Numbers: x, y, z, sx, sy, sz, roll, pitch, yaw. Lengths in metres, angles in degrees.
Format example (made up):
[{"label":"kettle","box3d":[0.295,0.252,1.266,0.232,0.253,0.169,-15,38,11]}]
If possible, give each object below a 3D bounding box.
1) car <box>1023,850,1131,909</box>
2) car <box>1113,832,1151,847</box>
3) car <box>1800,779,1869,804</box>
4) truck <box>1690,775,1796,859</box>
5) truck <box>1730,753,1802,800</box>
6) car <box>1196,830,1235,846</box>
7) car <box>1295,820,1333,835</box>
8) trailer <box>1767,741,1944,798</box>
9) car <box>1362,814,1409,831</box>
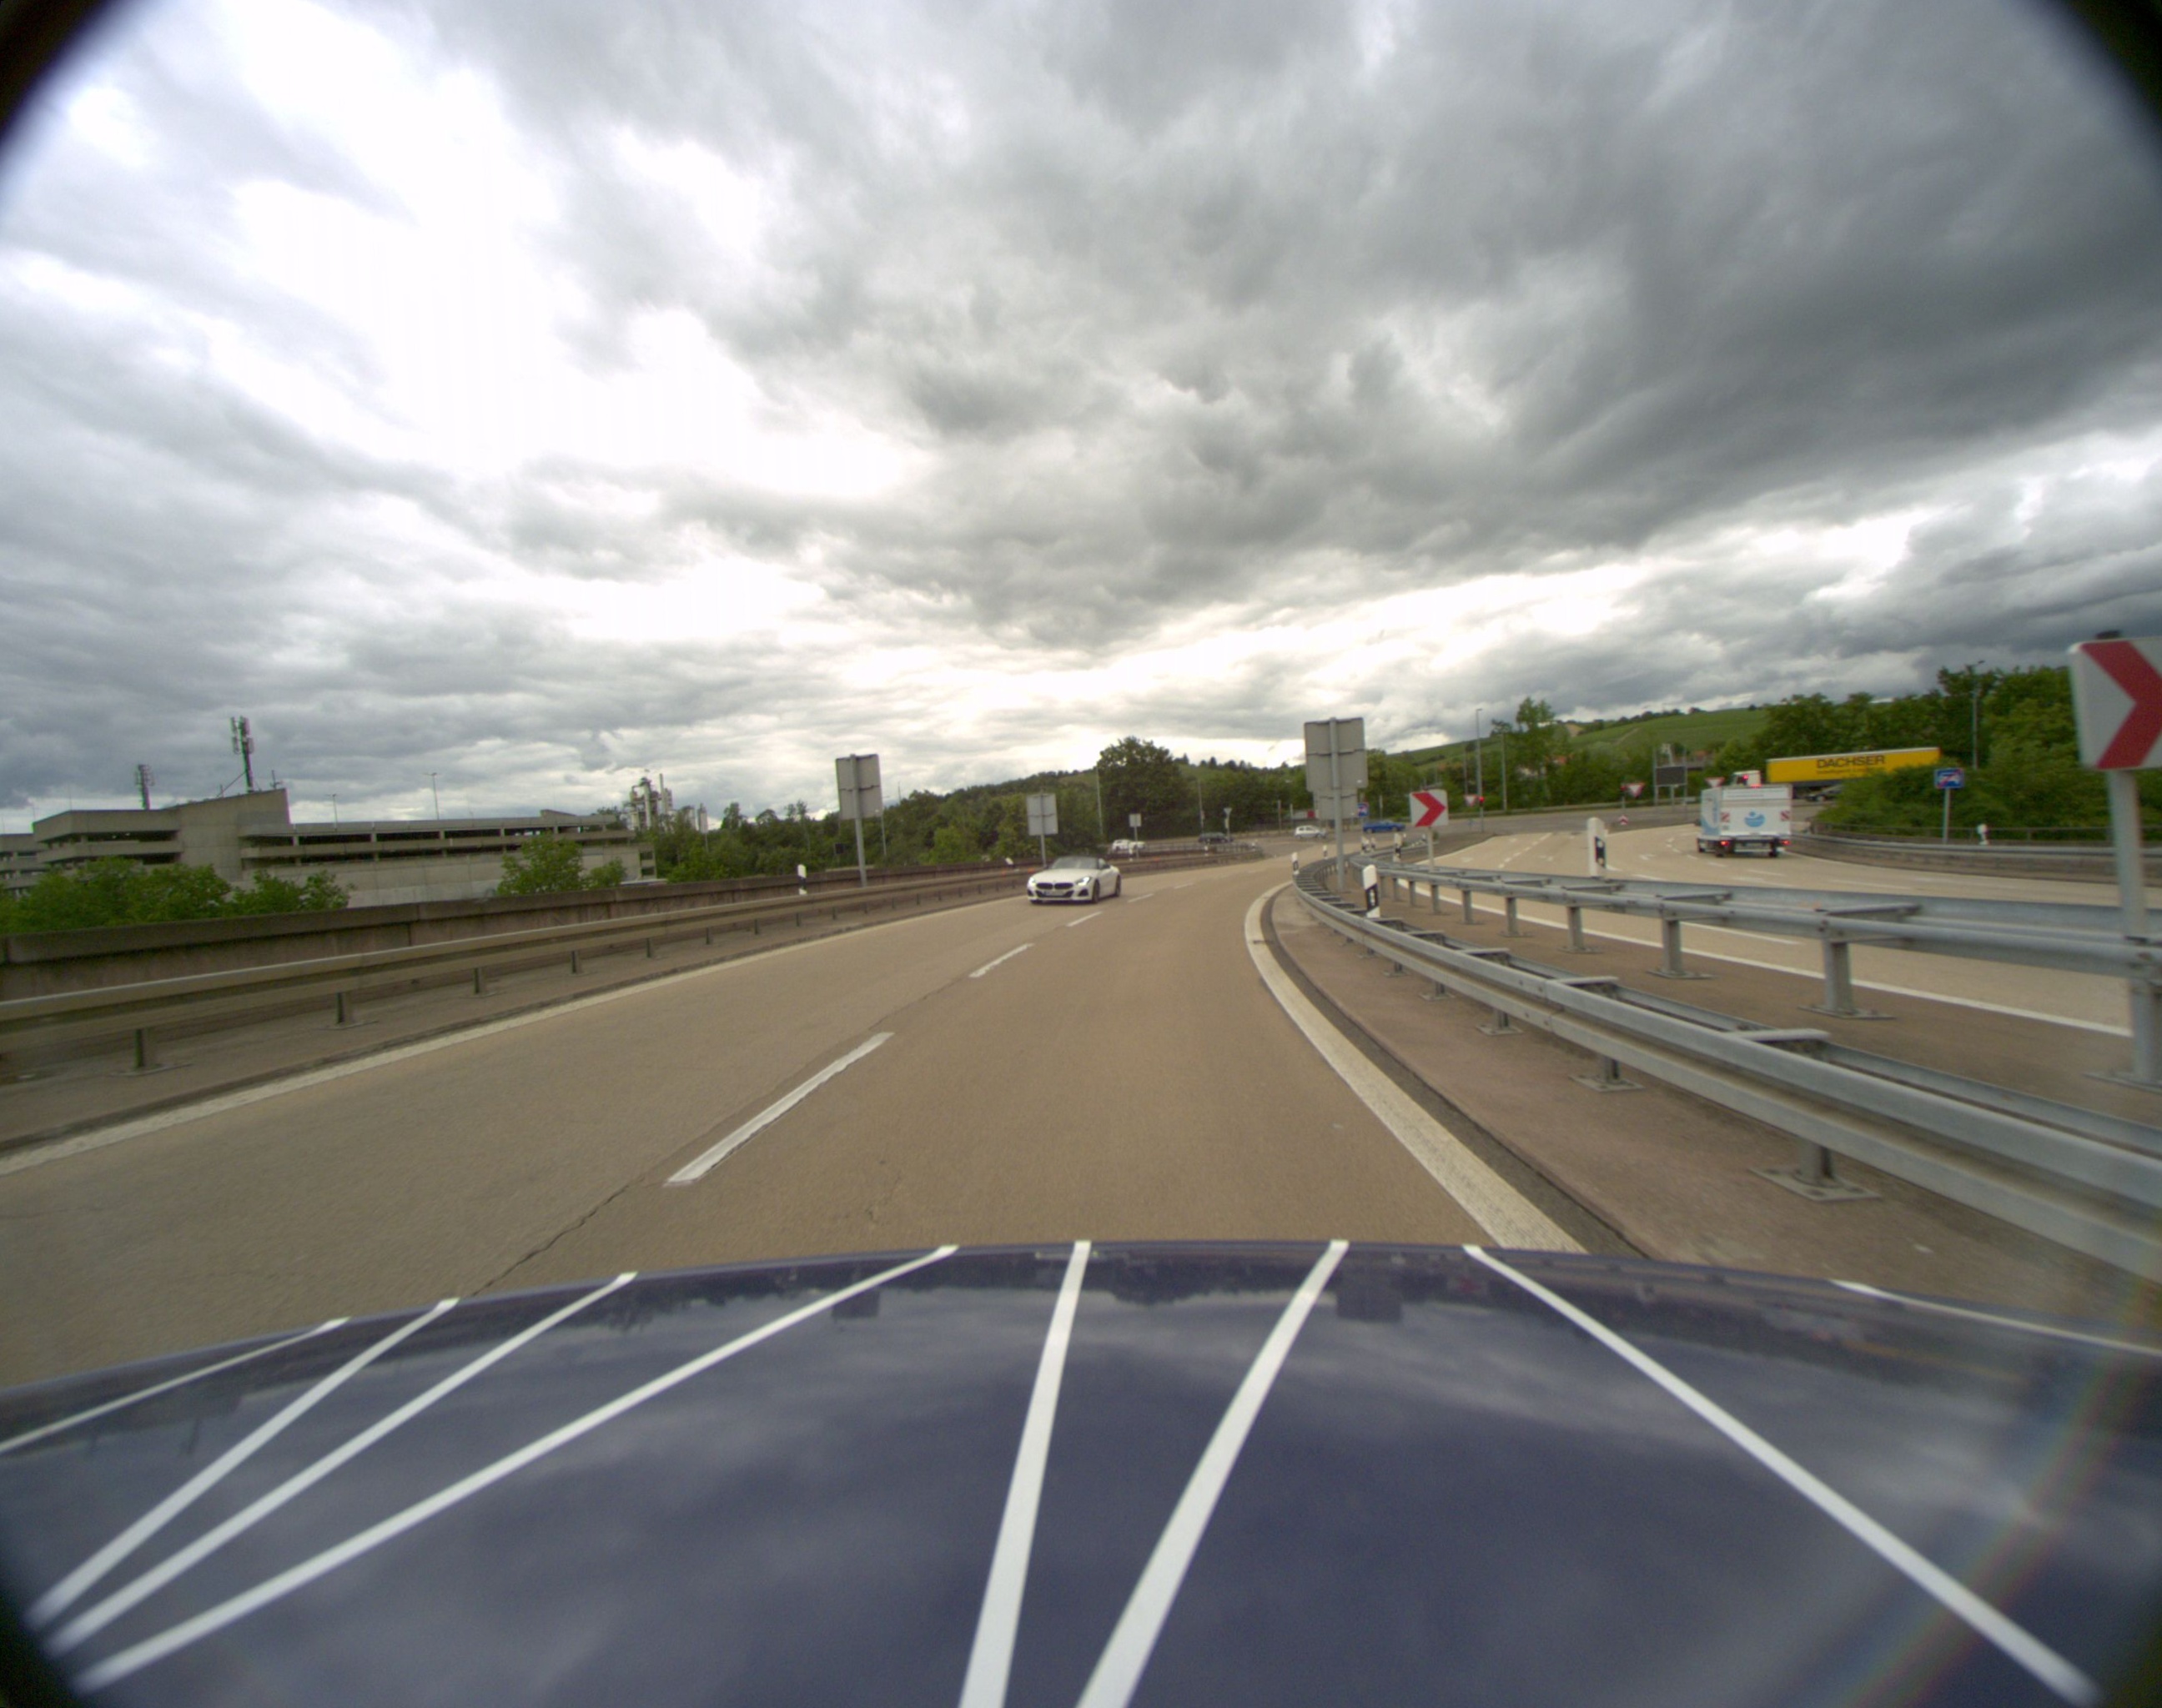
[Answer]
[{"label":"car","box3d":[0.029,0.664,22.153,1.860,1.337,4.829,-2,2,16]},{"label":"car","box3d":[6.829,-1.922,102.032,4.703,1.552,1.880,-4,4,37]},{"label":"car","box3d":[68.434,-5.655,69.109,4.115,1.652,1.630,-6,4,35]},{"label":"truck","box3d":[29.010,-1.679,33.585,2.346,3.245,7.005,-2,3,32]},{"label":"truck","box3d":[69.292,-7.801,76.962,5.088,4.182,2.639,-3,4,37]},{"label":"car","box3d":[16.792,-1.955,94.806,4.284,1.548,1.950,-4,4,35]},{"label":"car","box3d":[26.567,-3.008,86.723,3.739,1.366,1.630,-4,4,36]},{"label":"trailer","box3d":[74.205,-8.004,73.319,11.625,4.182,2.639,-3,4,37]},{"label":"car","box3d":[33.925,-3.547,84.646,4.531,1.446,1.612,-3,4,38]}]
